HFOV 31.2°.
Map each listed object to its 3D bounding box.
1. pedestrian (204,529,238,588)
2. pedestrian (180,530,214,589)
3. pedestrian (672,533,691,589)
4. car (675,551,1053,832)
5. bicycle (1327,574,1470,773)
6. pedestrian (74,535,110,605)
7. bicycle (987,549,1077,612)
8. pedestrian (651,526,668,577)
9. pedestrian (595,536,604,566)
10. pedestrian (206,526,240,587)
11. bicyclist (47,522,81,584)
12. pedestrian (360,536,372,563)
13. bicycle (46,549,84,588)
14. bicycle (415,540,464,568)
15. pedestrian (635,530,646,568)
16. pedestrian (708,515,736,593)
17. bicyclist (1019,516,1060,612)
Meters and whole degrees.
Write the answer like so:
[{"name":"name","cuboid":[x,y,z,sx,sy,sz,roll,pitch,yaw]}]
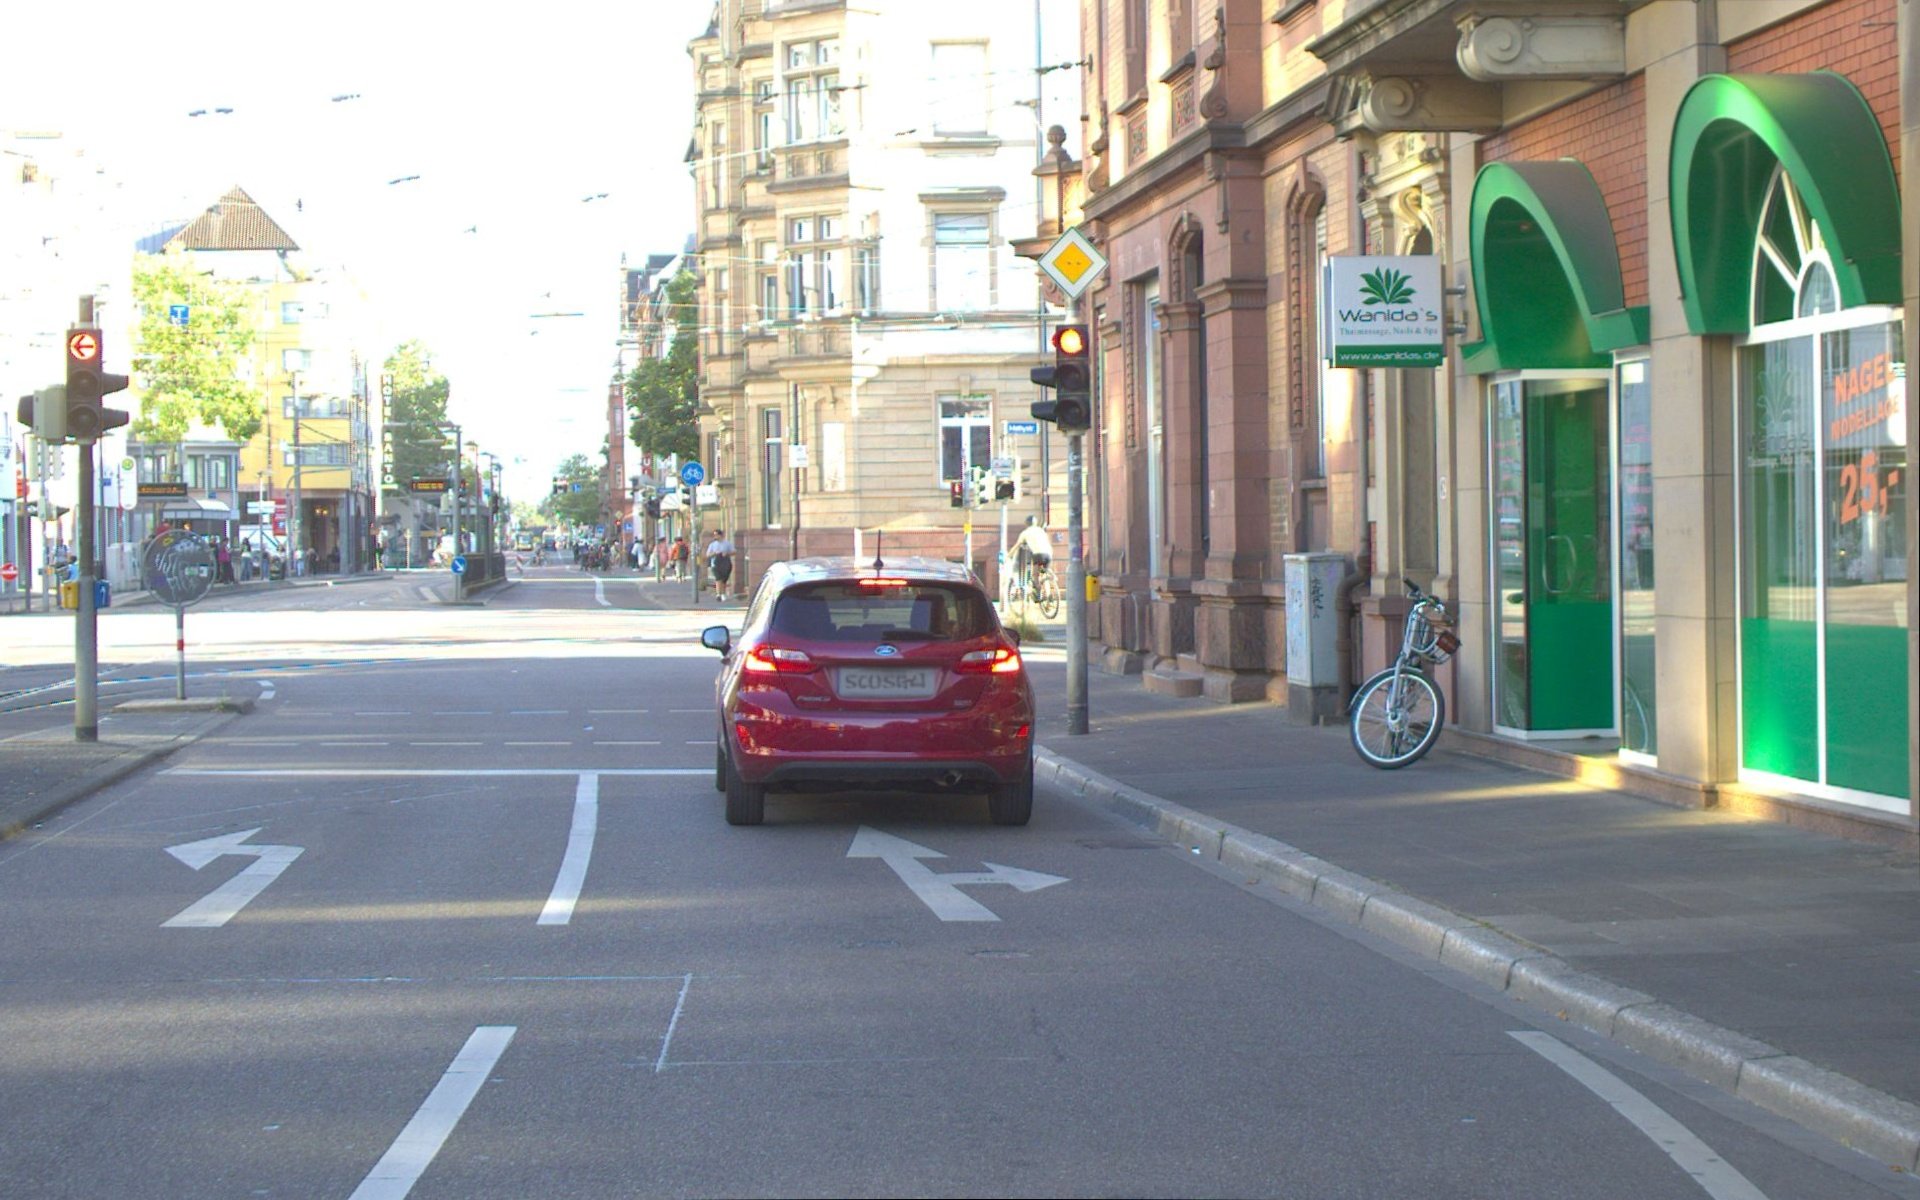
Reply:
[{"name":"pedestrian","cuboid":[-25.592,-1.439,119.096,1.045,2.007,0.959,-1,1,-8]},{"name":"pedestrian","cuboid":[-26.124,-1.402,117.675,1.045,2.007,0.959,-1,1,-8]},{"name":"pedestrian","cuboid":[-10.023,-1.411,123.779,0.646,2.007,0.683,-1,1,-6]},{"name":"car","cuboid":[-0.659,0.460,20.045,1.753,1.461,3.946,1,1,-8]},{"name":"bicycle","cuboid":[2.777,0.442,21.649,0.716,1.148,1.654,-2,1,12]},{"name":"pedestrian","cuboid":[-21.659,-0.753,85.762,0.768,1.724,0.573,-1,1,-4]},{"name":"bicycle","cuboid":[1.257,-0.334,60.179,1.483,1.085,0.527,0,1,23]},{"name":"pedestrian","cuboid":[-11.997,-1.928,137.221,0.577,2.007,0.631,-1,1,0]},{"name":"pedestrian","cuboid":[-22.758,-3.109,217.009,0.577,1.881,0.670,-1,1,-6]},{"name":"pedestrian","cuboid":[-24.820,-1.471,115.788,1.045,2.007,0.959,-1,1,-8]},{"name":"bicyclist","cuboid":[-26.677,-1.394,102.350,0.807,1.815,0.993,-1,1,-6]},{"name":"pedestrian","cuboid":[-36.155,-3.071,209.263,0.628,1.599,0.579,-1,1,-23]},{"name":"bicycle","cuboid":[-26.680,-0.953,102.496,0.807,1.143,2.011,-1,1,-6]},{"name":"bicycle","cuboid":[-37.178,-3.289,245.564,3.424,2.007,1.113,-1,1,-6]},{"name":"pedestrian","cuboid":[-16.679,-2.672,179.547,0.577,2.007,0.631,-1,1,-5]},{"name":"pedestrian","cuboid":[-6.134,-1.181,88.564,0.651,2.007,0.760,-1,1,-7]},{"name":"bicyclist","cuboid":[1.389,-0.626,60.115,0.544,1.670,0.500,0,1,24]}]
